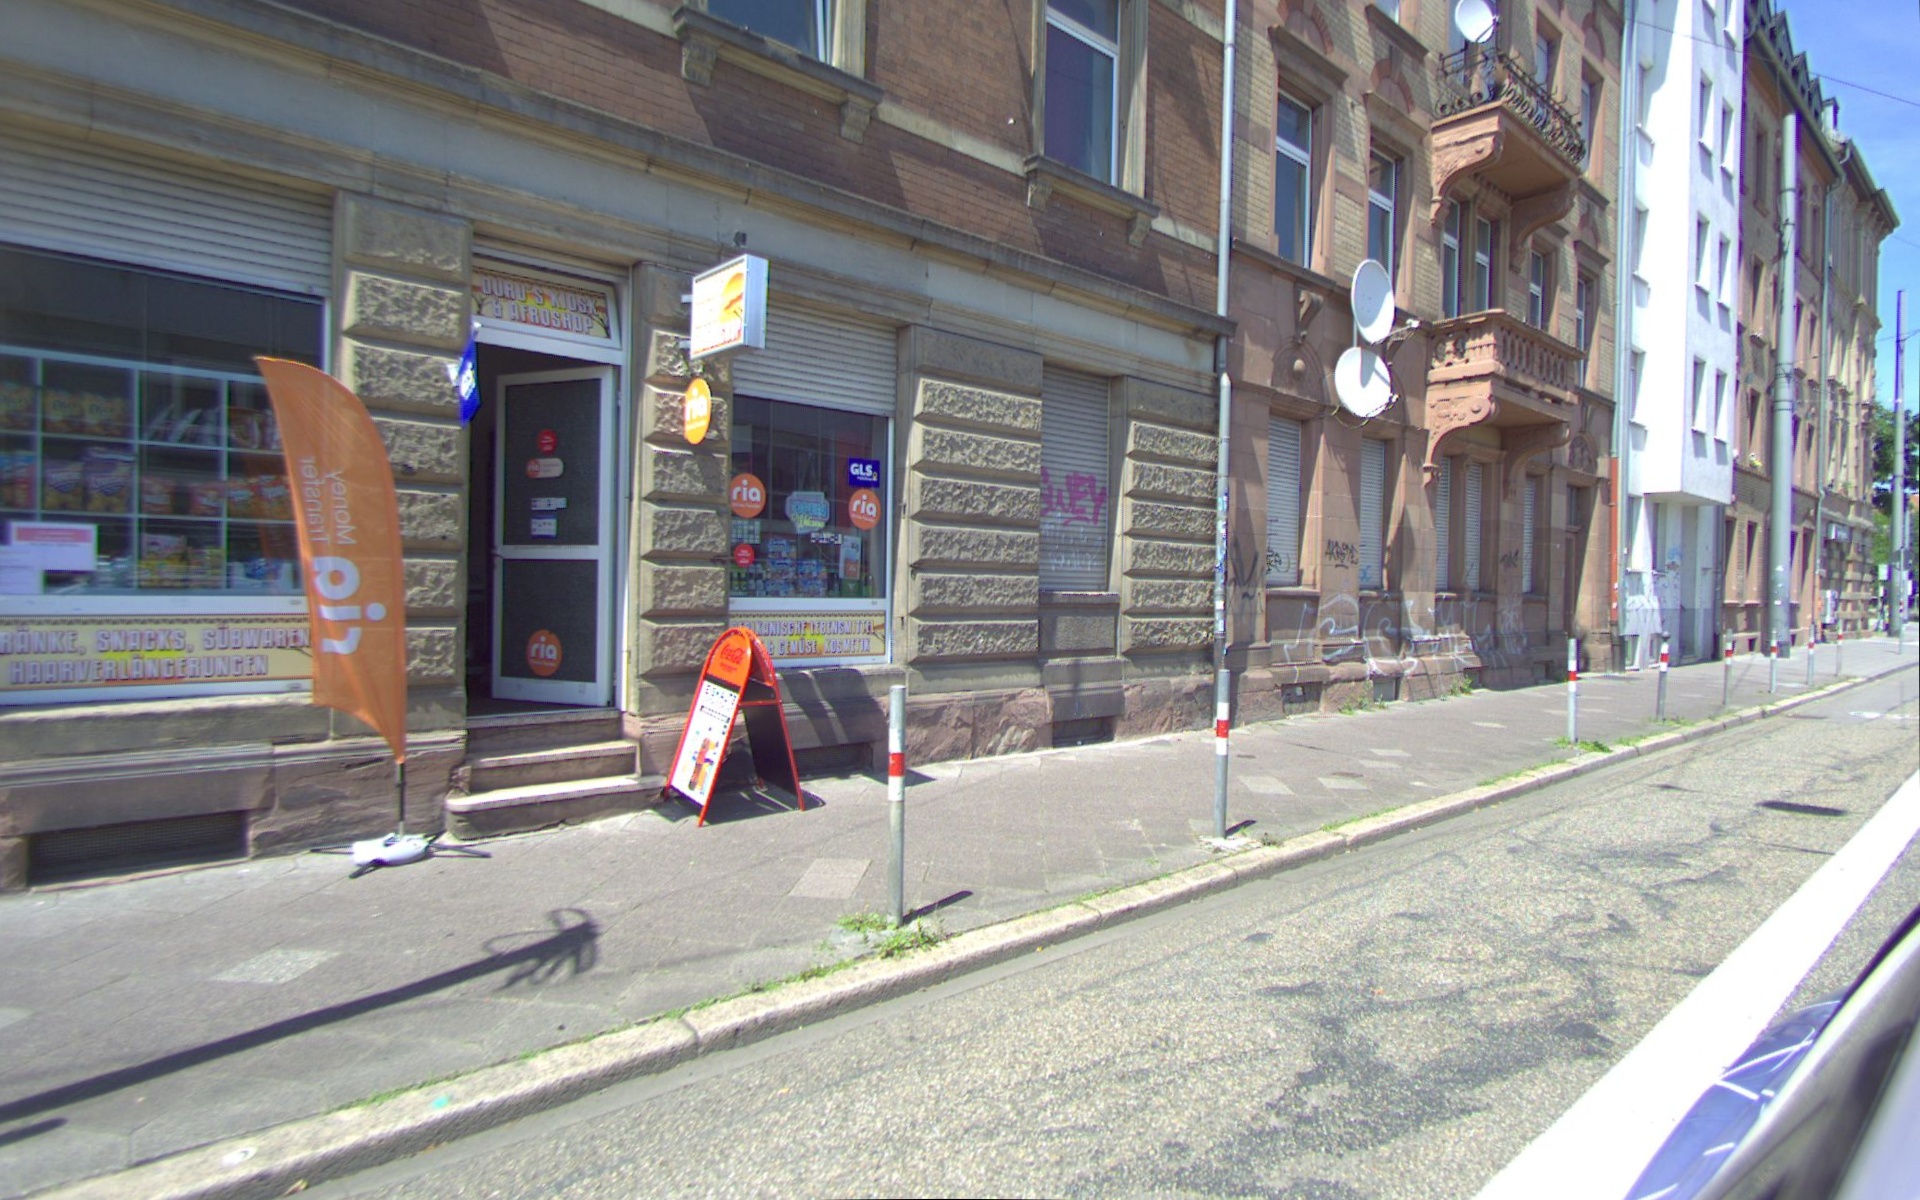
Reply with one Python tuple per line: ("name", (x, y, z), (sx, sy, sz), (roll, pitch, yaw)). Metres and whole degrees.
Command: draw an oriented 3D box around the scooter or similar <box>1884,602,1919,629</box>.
("scooter or similar", (41.932, 0.684, 44.687), (1.507, 1.170, 0.710), (1, 0, 22))
